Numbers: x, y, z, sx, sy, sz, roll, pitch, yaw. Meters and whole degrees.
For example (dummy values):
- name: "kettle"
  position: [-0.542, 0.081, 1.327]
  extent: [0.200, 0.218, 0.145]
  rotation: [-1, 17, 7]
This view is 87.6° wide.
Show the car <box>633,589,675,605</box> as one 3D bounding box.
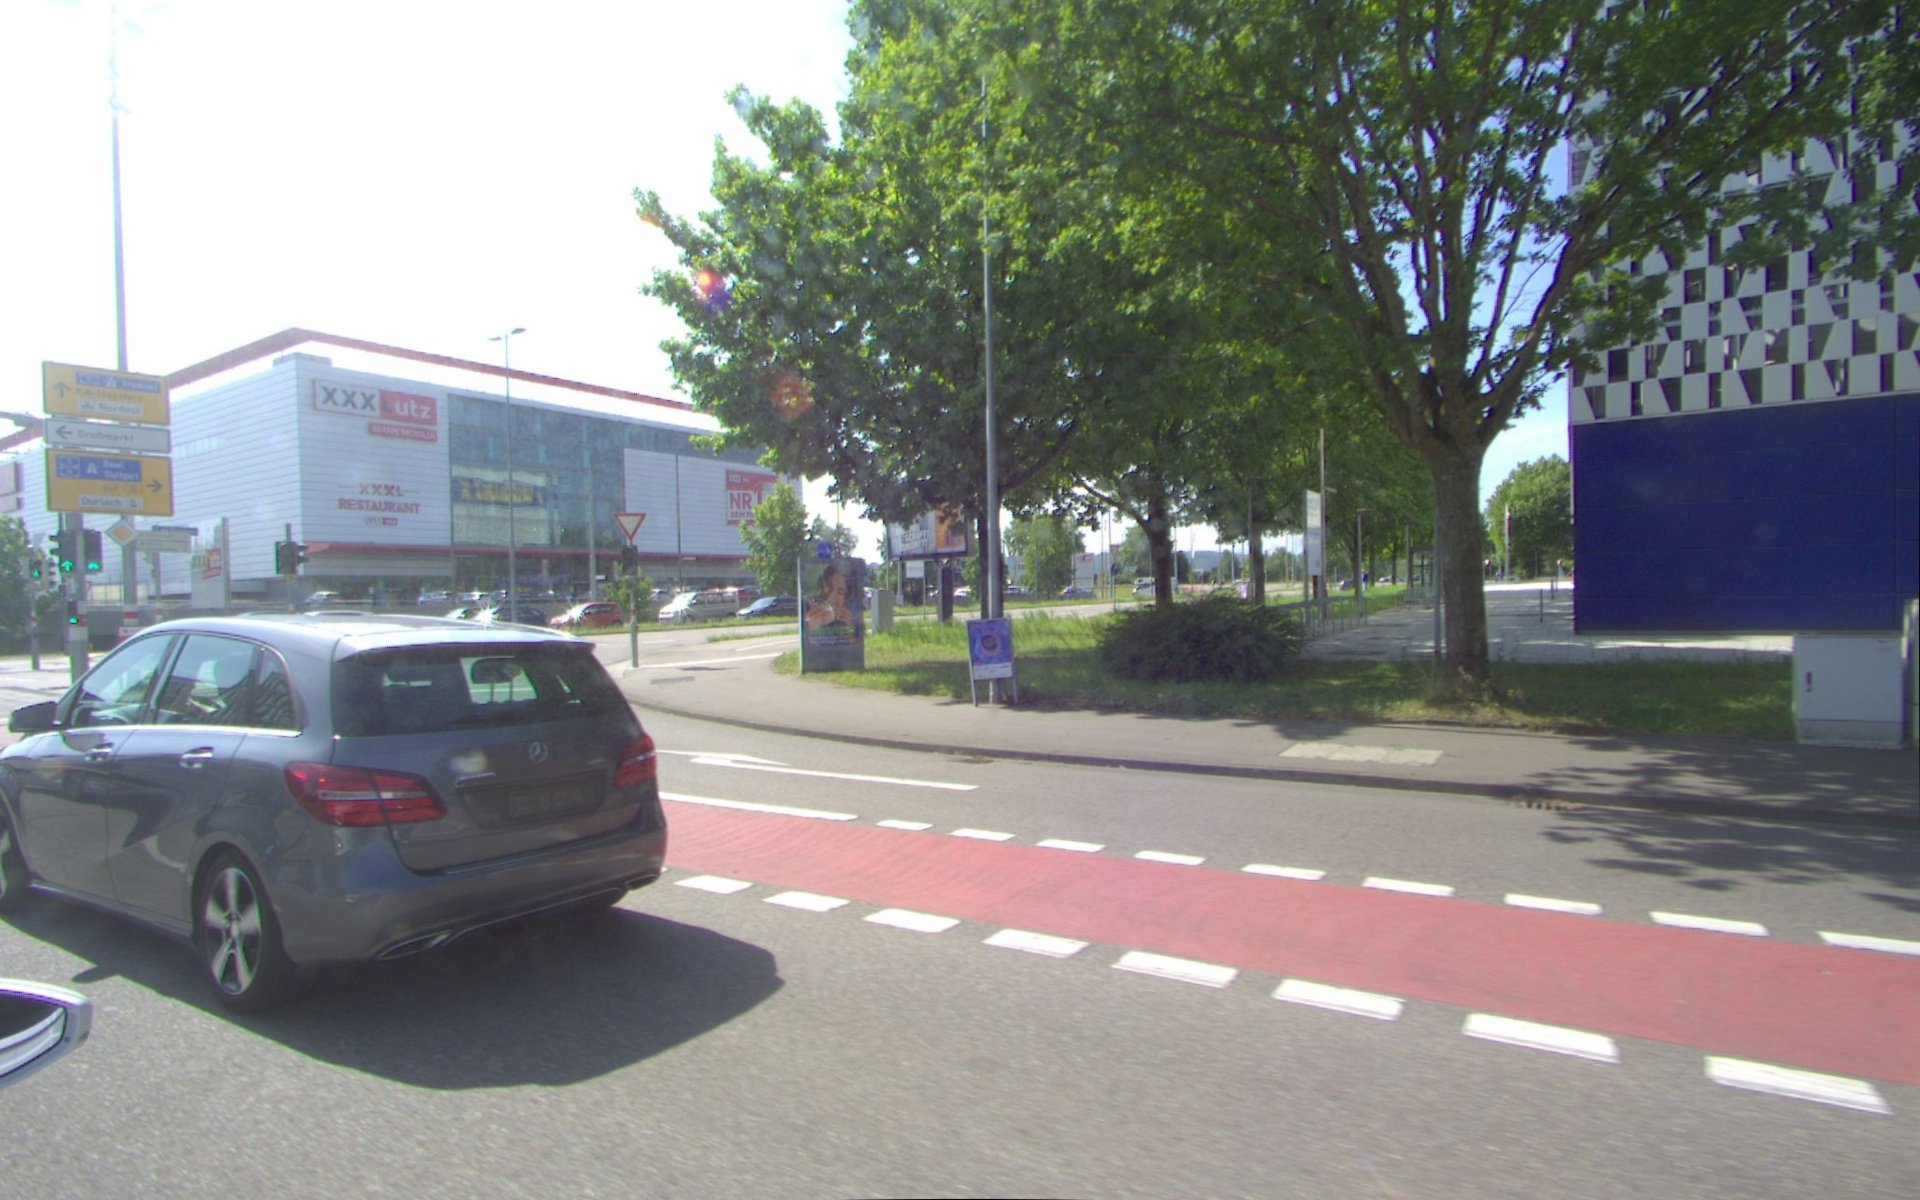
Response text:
- name: "car"
  position: [-29.374, -0.304, 96.051]
  extent: [4.054, 1.438, 1.679]
  rotation: [-1, 0, 35]

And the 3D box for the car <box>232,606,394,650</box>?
- name: "car"
  position: [-24.125, 1.016, 37.523]
  extent: [1.933, 1.444, 4.701]
  rotation: [-2, 0, 35]

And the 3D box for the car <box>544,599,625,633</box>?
- name: "car"
  position: [-18.578, 0.777, 49.610]
  extent: [1.578, 1.597, 3.458]
  rotation: [-1, 0, 36]

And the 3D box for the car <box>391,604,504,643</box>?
- name: "car"
  position: [-22.622, 1.009, 44.312]
  extent: [1.883, 1.528, 4.015]
  rotation: [-2, 0, 35]

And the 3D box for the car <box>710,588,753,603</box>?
- name: "car"
  position: [-22.204, -0.436, 97.403]
  extent: [4.051, 1.438, 1.784]
  rotation: [-1, 0, 33]

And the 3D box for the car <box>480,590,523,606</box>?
- name: "car"
  position: [-42.871, -0.154, 93.628]
  extent: [4.143, 1.438, 1.866]
  rotation: [-1, 0, 35]

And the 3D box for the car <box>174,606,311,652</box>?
- name: "car"
  position: [-27.277, 1.077, 38.164]
  extent: [1.785, 1.579, 3.871]
  rotation: [-1, 0, 36]

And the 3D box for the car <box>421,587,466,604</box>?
- name: "car"
  position: [-45.969, -0.378, 89.040]
  extent: [3.950, 1.438, 1.795]
  rotation: [-1, 0, 32]

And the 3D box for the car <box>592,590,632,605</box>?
- name: "car"
  position: [-35.893, -0.275, 103.224]
  extent: [4.143, 1.438, 1.730]
  rotation: [-1, 0, 35]

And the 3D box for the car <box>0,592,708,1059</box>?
- name: "car"
  position: [-3.423, 0.794, 5.179]
  extent: [4.077, 1.559, 1.771]
  rotation: [0, -1, 31]

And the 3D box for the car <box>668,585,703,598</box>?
- name: "car"
  position: [-32.552, -0.992, 118.637]
  extent: [4.143, 1.438, 1.679]
  rotation: [-1, 0, 35]

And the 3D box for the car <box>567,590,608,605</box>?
- name: "car"
  position: [-37.713, -0.270, 101.391]
  extent: [4.143, 1.438, 1.799]
  rotation: [-1, 0, 35]

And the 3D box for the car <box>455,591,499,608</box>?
- name: "car"
  position: [-43.887, -0.071, 90.952]
  extent: [4.143, 1.438, 1.826]
  rotation: [-1, 0, 35]

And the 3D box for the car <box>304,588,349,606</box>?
- name: "car"
  position: [-54.260, -0.240, 85.696]
  extent: [4.143, 1.438, 1.765]
  rotation: [-1, 0, 35]

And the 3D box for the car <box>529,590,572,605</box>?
- name: "car"
  position: [-39.898, -0.252, 97.551]
  extent: [4.143, 1.438, 1.895]
  rotation: [-1, 0, 35]

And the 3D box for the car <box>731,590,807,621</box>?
- name: "car"
  position: [-10.605, 0.284, 55.804]
  extent: [1.662, 1.641, 4.102]
  rotation: [-1, 0, 37]

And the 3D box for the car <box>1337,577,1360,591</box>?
- name: "car"
  position: [46.015, -1.862, 118.567]
  extent: [1.618, 1.555, 3.893]
  rotation: [-1, 0, 34]

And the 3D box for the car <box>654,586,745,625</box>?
- name: "car"
  position: [-14.404, 0.273, 55.638]
  extent: [1.937, 2.001, 4.658]
  rotation: [-3, 0, 35]

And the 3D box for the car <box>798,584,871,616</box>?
- name: "car"
  position: [-8.066, -0.030, 64.761]
  extent: [1.890, 1.961, 4.757]
  rotation: [-2, -1, 37]

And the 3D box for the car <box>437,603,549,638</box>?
- name: "car"
  position: [-19.959, 0.854, 42.915]
  extent: [1.701, 1.359, 4.032]
  rotation: [-2, 0, 34]

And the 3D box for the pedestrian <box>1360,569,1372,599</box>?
- name: "pedestrian"
  position: [28.070, -1.117, 69.287]
  extent: [0.670, 2.039, 0.600]
  rotation: [-1, -2, 18]
